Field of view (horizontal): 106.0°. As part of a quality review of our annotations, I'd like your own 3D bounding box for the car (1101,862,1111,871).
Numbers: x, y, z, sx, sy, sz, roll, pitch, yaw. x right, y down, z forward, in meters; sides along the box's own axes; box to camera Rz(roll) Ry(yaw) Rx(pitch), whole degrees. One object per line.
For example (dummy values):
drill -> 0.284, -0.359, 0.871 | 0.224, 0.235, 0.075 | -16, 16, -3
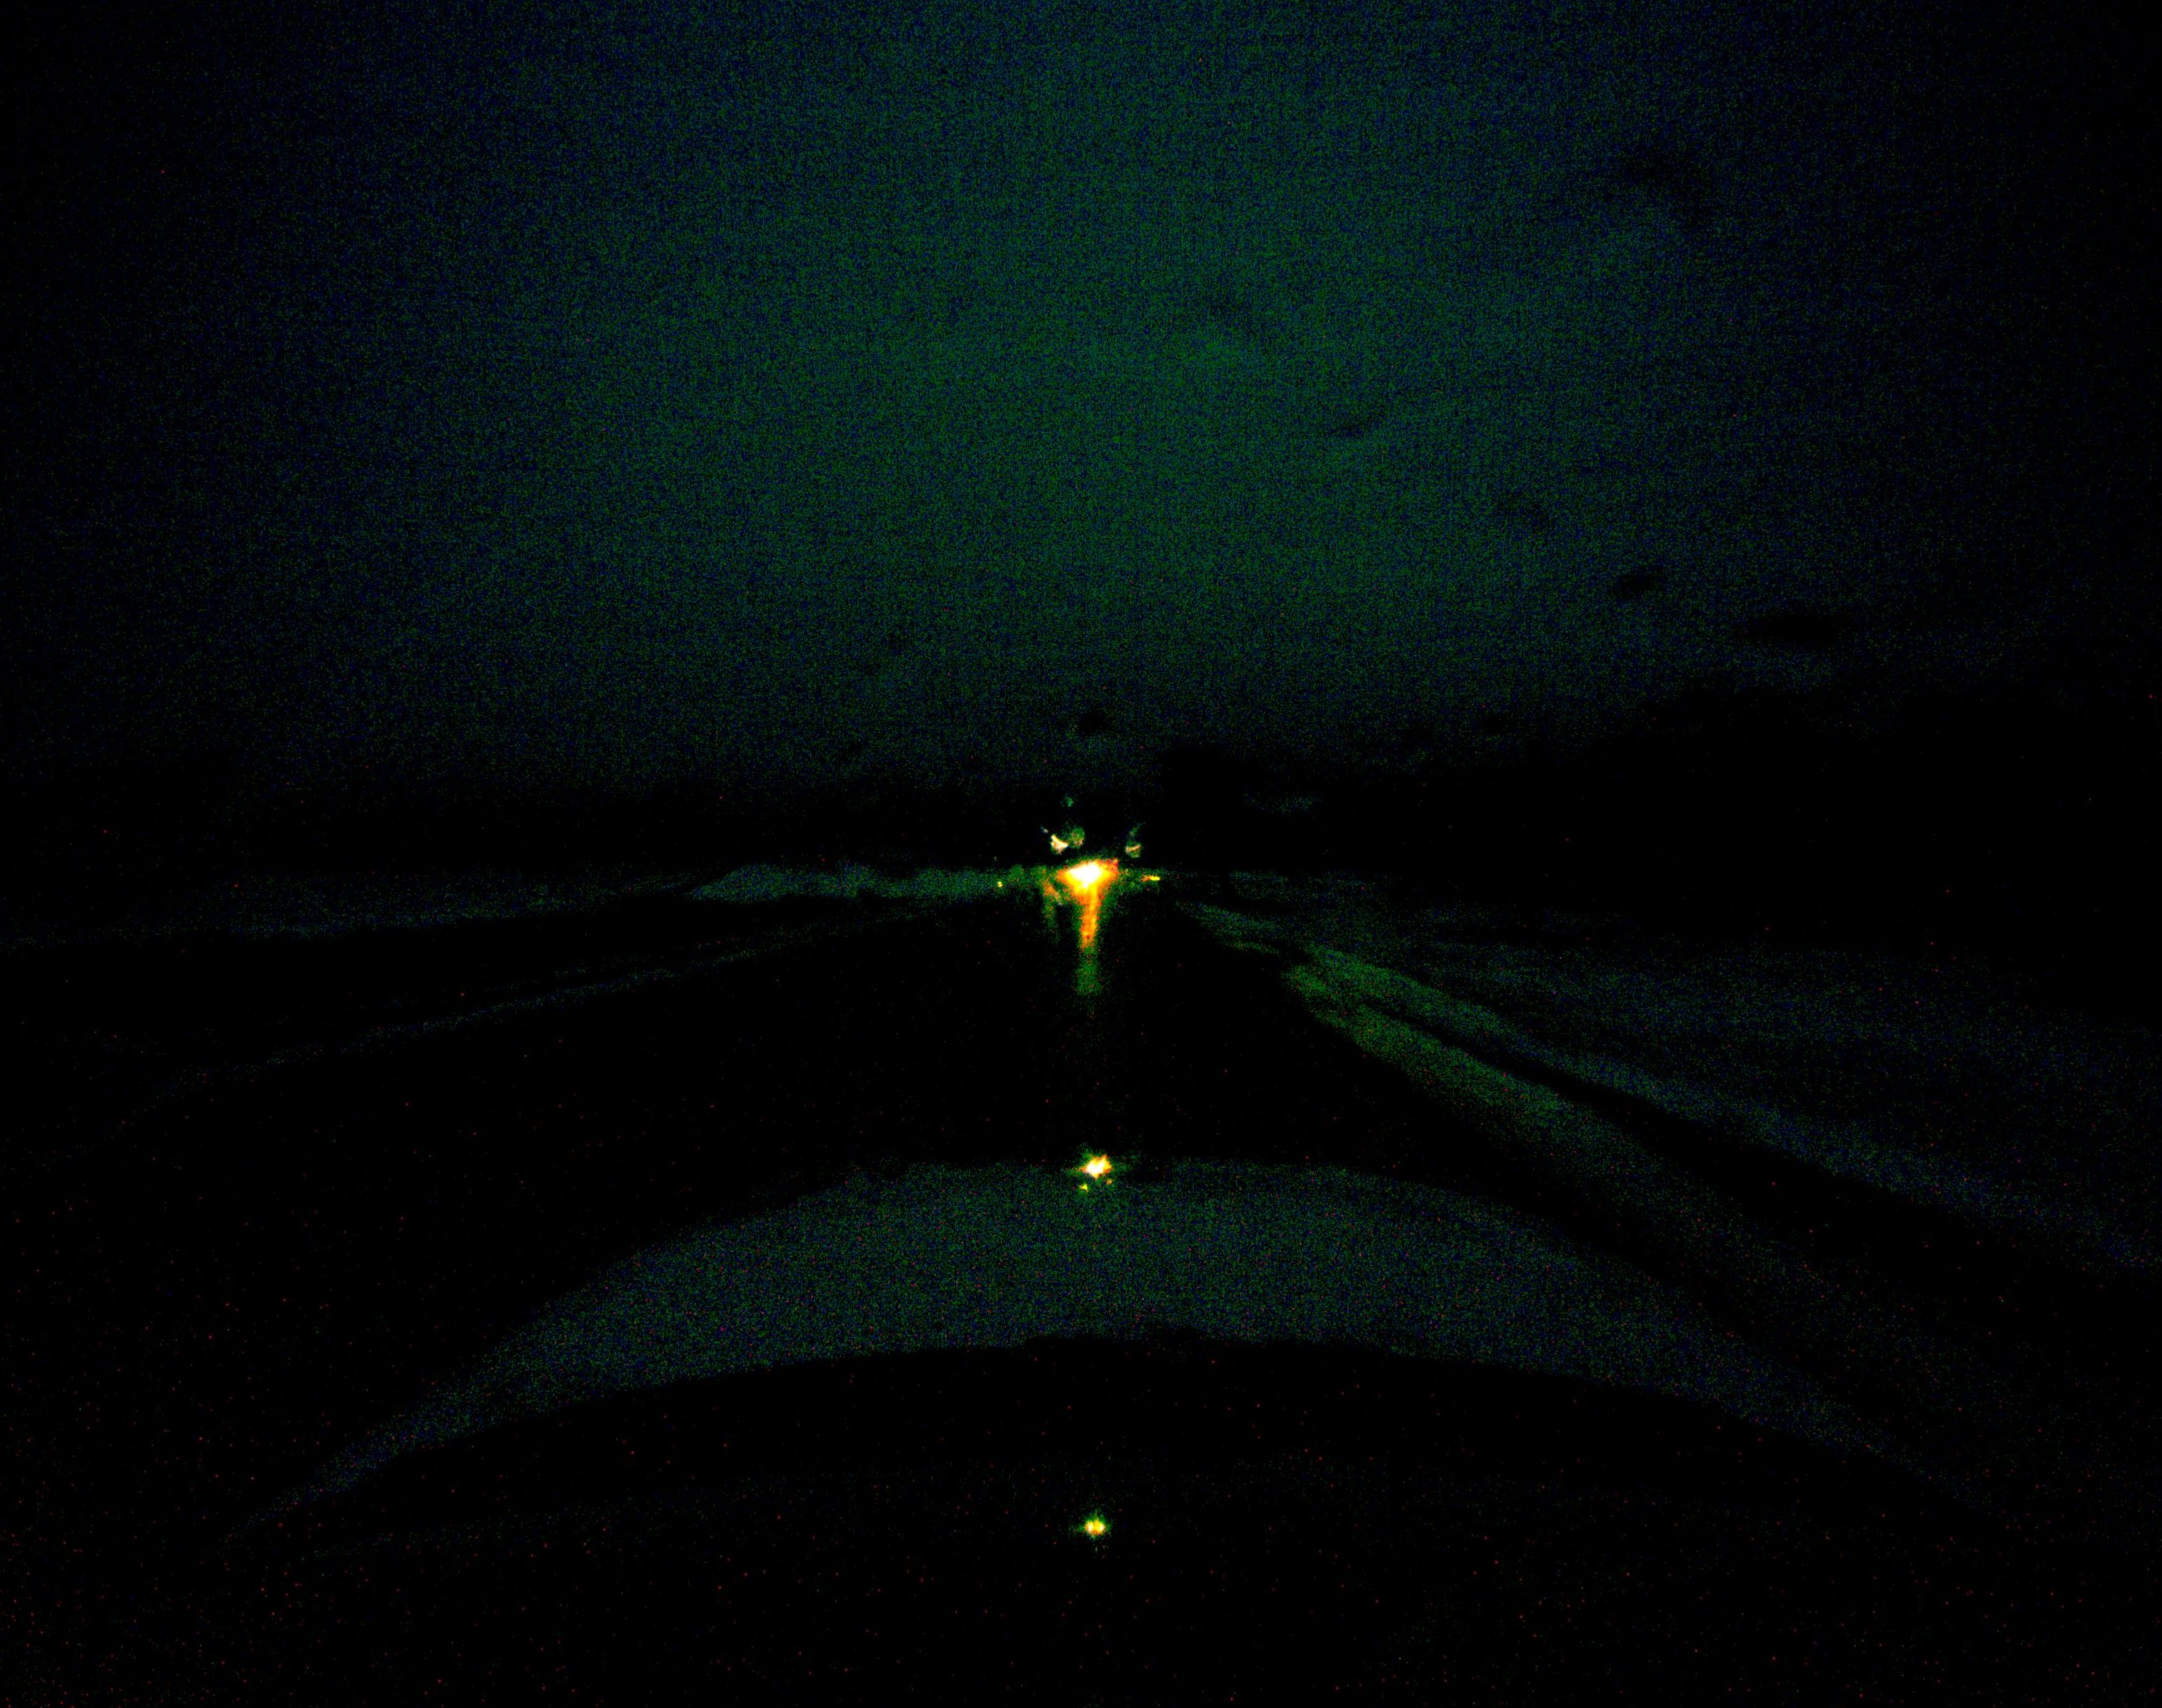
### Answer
car -> 4.722, 2.418, 154.016 | 1.684, 1.552, 3.863 | -1, 1, 6
